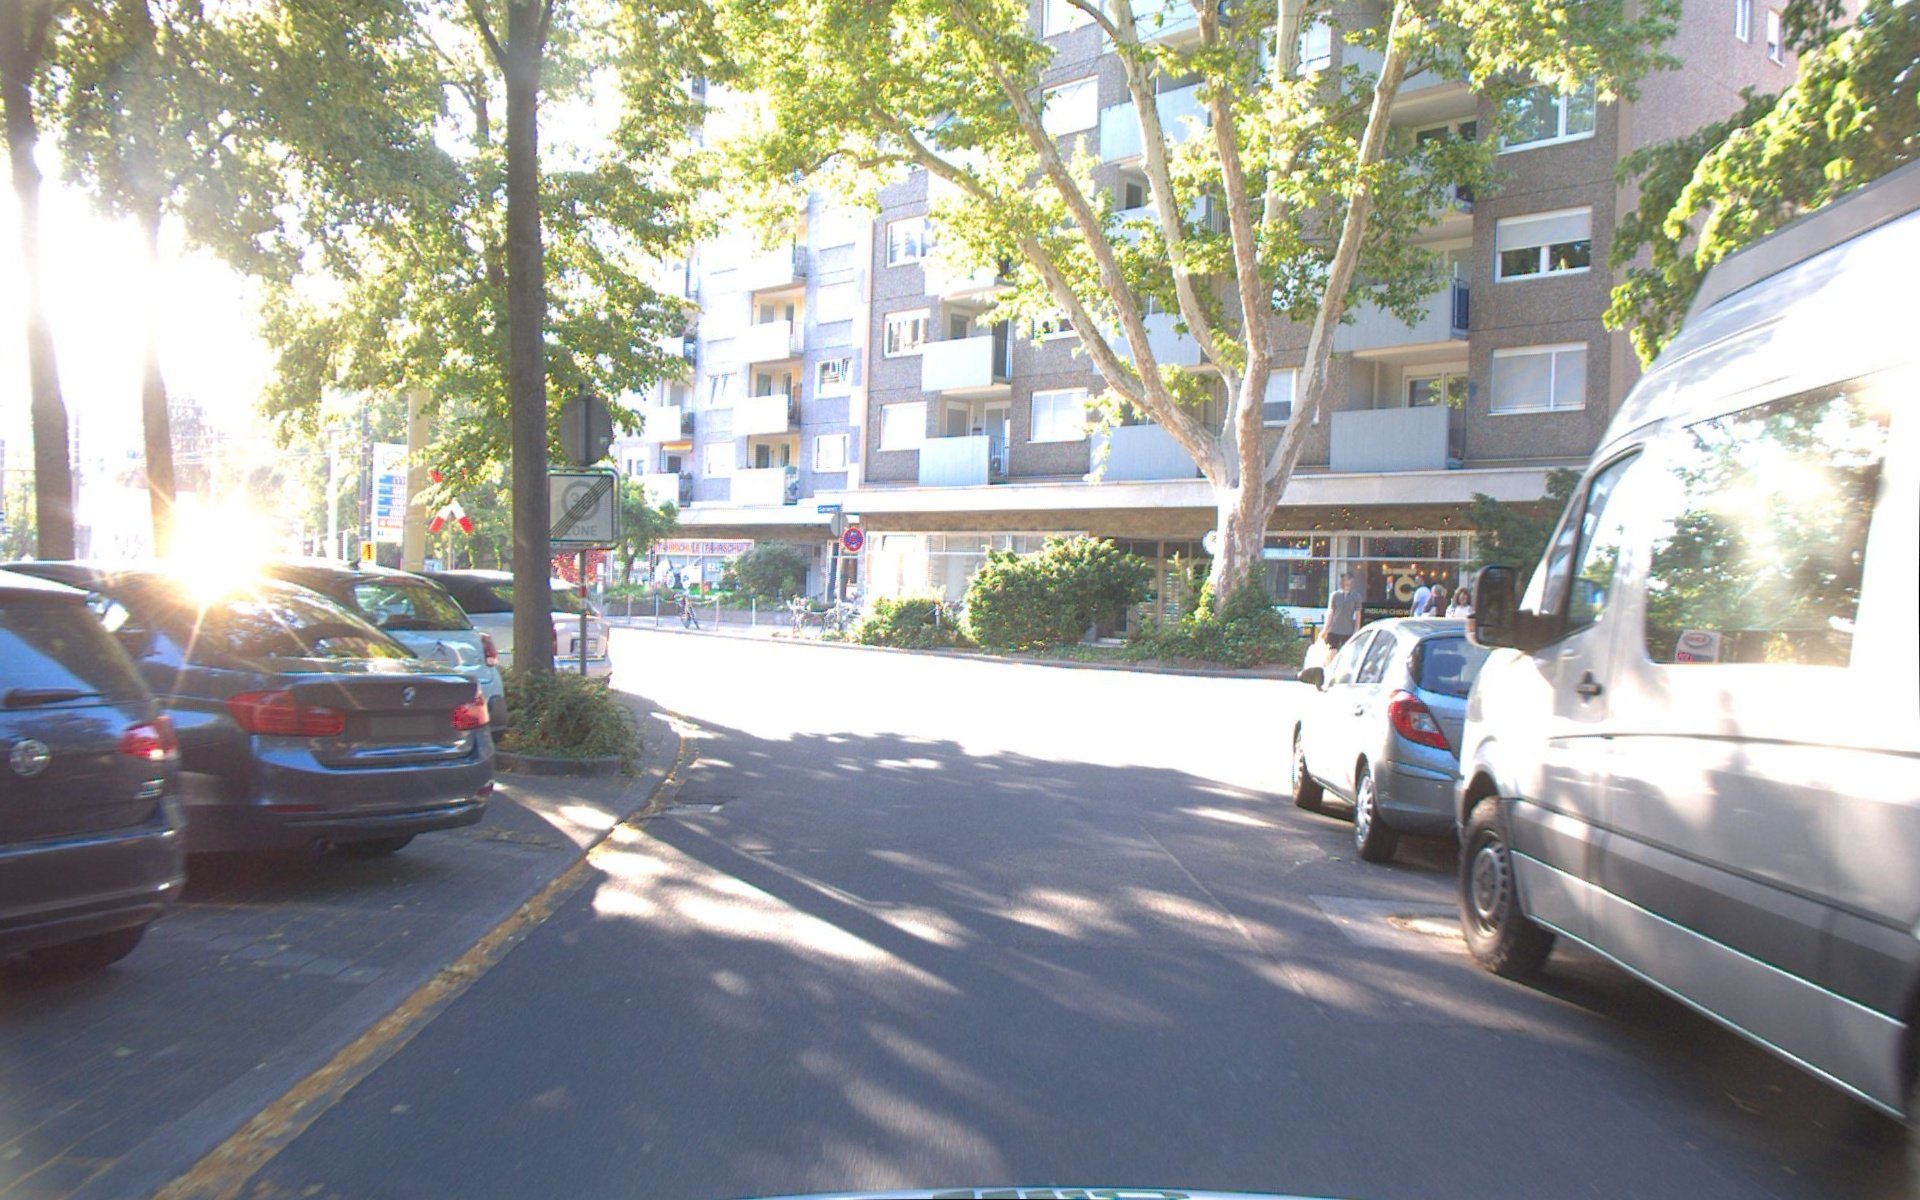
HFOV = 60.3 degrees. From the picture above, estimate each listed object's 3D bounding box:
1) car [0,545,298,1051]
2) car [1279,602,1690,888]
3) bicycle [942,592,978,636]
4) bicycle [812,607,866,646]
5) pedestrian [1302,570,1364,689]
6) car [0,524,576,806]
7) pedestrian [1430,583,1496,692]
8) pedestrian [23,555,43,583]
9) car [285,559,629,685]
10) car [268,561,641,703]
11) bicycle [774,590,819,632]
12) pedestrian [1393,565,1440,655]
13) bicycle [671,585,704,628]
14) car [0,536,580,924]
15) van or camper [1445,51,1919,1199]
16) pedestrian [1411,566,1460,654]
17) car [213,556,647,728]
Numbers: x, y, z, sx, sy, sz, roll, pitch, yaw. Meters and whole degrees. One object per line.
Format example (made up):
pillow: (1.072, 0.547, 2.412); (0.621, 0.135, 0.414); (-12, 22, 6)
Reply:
car: (-4.467, 0.465, 5.759); (3.784, 1.463, 1.831); (5, 0, 24)
car: (3.340, 0.824, 11.306); (1.646, 1.471, 3.873); (4, 1, 2)
bicycle: (-0.004, 0.340, 40.804); (0.345, 1.056, 1.039); (1, 1, -35)
bicycle: (-3.042, 0.654, 41.408); (0.538, 0.920, 1.714); (1, 0, -35)
pedestrian: (5.795, 0.445, 25.740); (0.795, 1.812, 0.717); (1, 0, 3)
car: (-4.856, 0.379, 11.686); (3.797, 1.519, 1.830); (5, 0, 26)
pedestrian: (7.721, 0.571, 25.419); (0.795, 1.636, 0.717); (1, 0, 3)
pedestrian: (-57.420, -1.921, 102.423); (0.920, 1.721, 0.766); (1, 0, -40)
car: (-6.923, 0.283, 22.868); (4.190, 1.454, 1.775); (3, 0, 16)
car: (-6.116, 0.362, 20.164); (3.942, 1.430, 1.776); (3, 0, 14)
bicycle: (-4.282, 0.277, 43.268); (0.629, 1.040, 2.075); (1, 0, -21)
pedestrian: (9.275, 0.192, 33.636); (0.680, 1.804, 0.627); (1, 0, -40)
bicycle: (-8.179, 0.190, 49.526); (0.629, 1.247, 2.077); (1, 0, -19)
car: (-4.236, 0.477, 8.507); (4.104, 1.463, 1.831); (5, 0, 24)
van or camper: (3.274, 0.118, 4.602); (2.041, 2.810, 5.845); (2, 0, 0)
pedestrian: (9.406, 0.195, 32.719); (0.680, 1.721, 0.635); (1, 0, -40)
car: (-5.492, 0.403, 17.284); (3.889, 1.388, 1.776); (5, 0, 15)
